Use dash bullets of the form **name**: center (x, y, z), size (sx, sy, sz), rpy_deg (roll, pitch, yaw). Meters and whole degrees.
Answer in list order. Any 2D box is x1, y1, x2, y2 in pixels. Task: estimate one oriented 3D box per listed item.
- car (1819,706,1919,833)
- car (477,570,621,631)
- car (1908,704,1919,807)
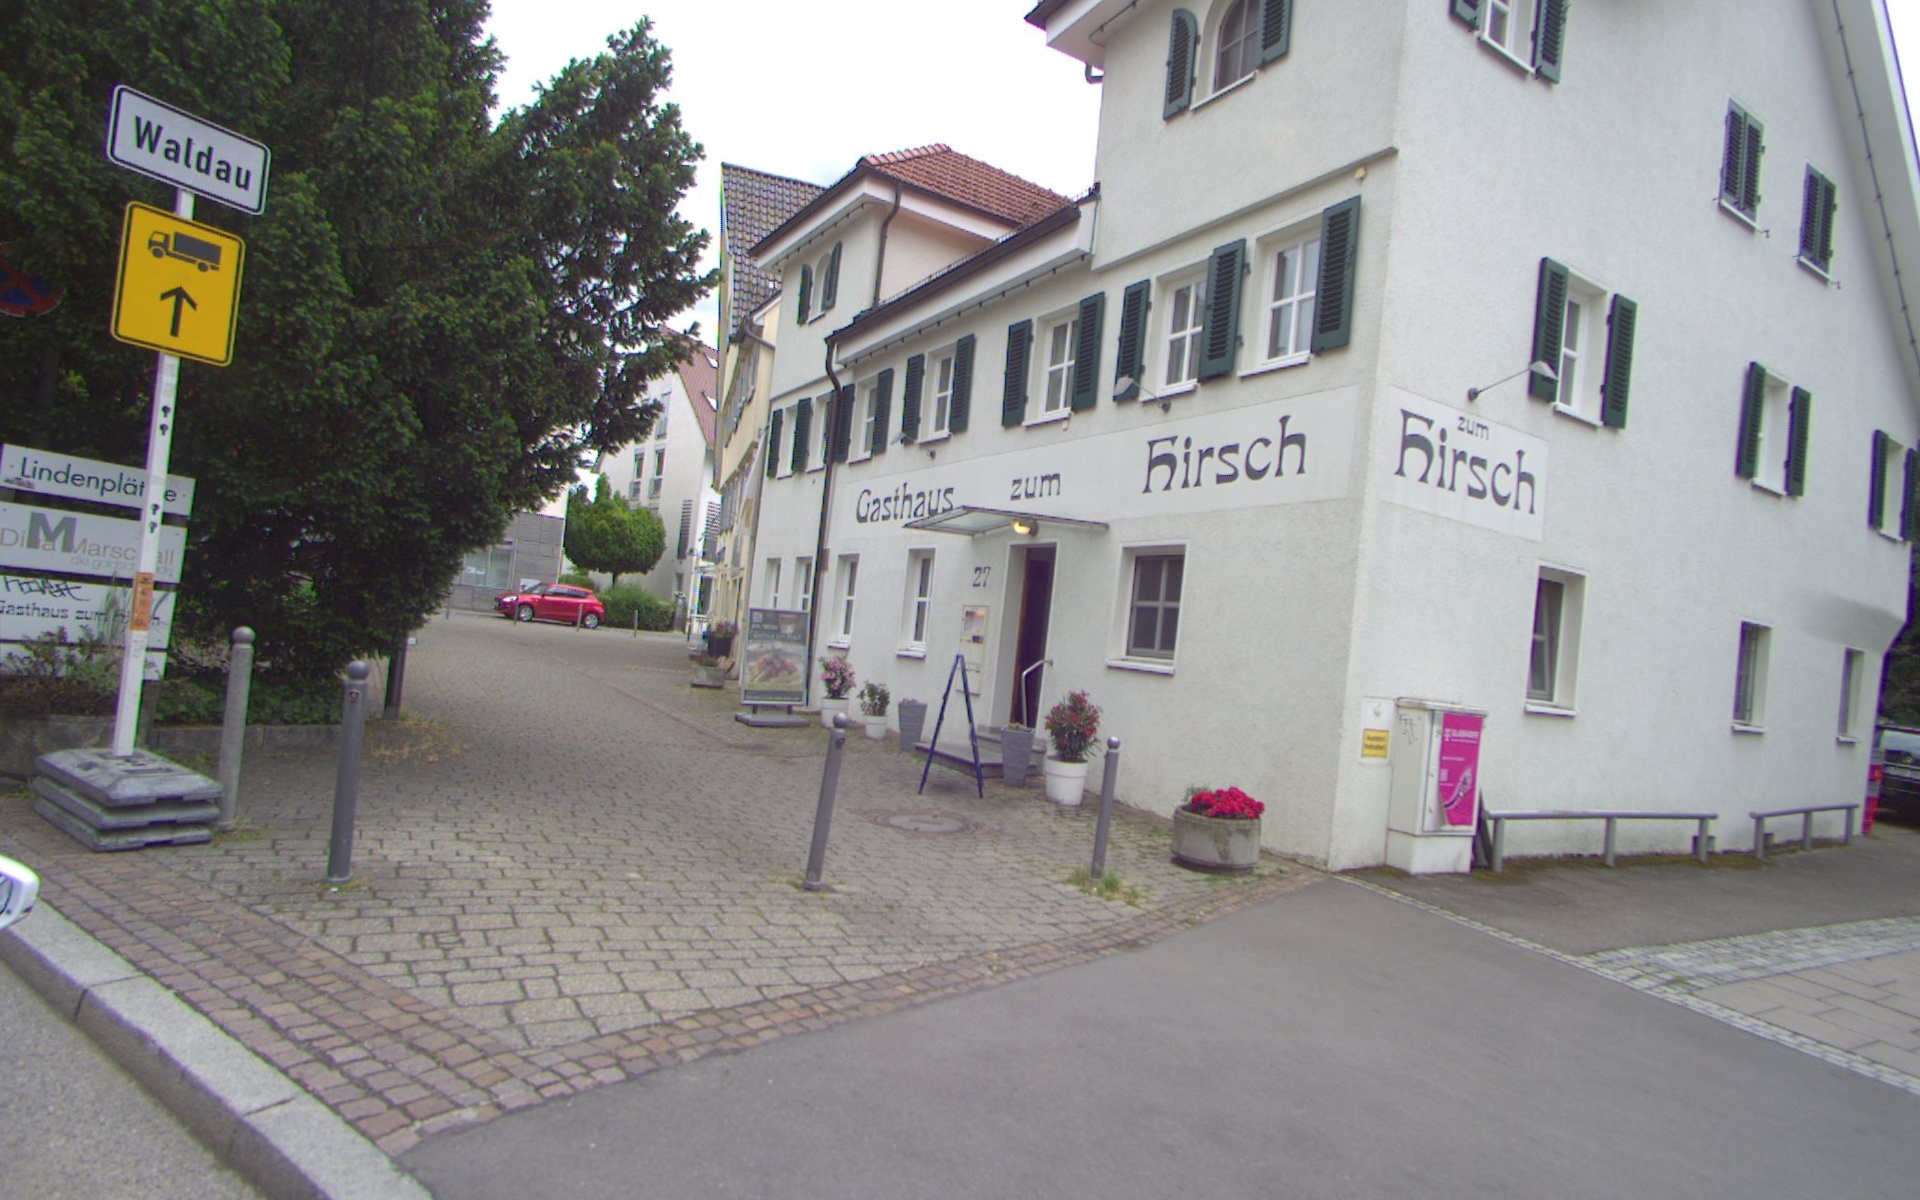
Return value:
- **car**: center (15.100, 2.663, 15.351), size (3.962, 1.575, 1.894), rpy_deg (7, 3, -34)
- **car**: center (-15.193, 0.054, 37.333), size (2.097, 1.564, 4.364), rpy_deg (5, -4, 44)
- **car**: center (20.203, 3.201, 19.511), size (3.968, 1.923, 1.979), rpy_deg (8, -2, -38)
